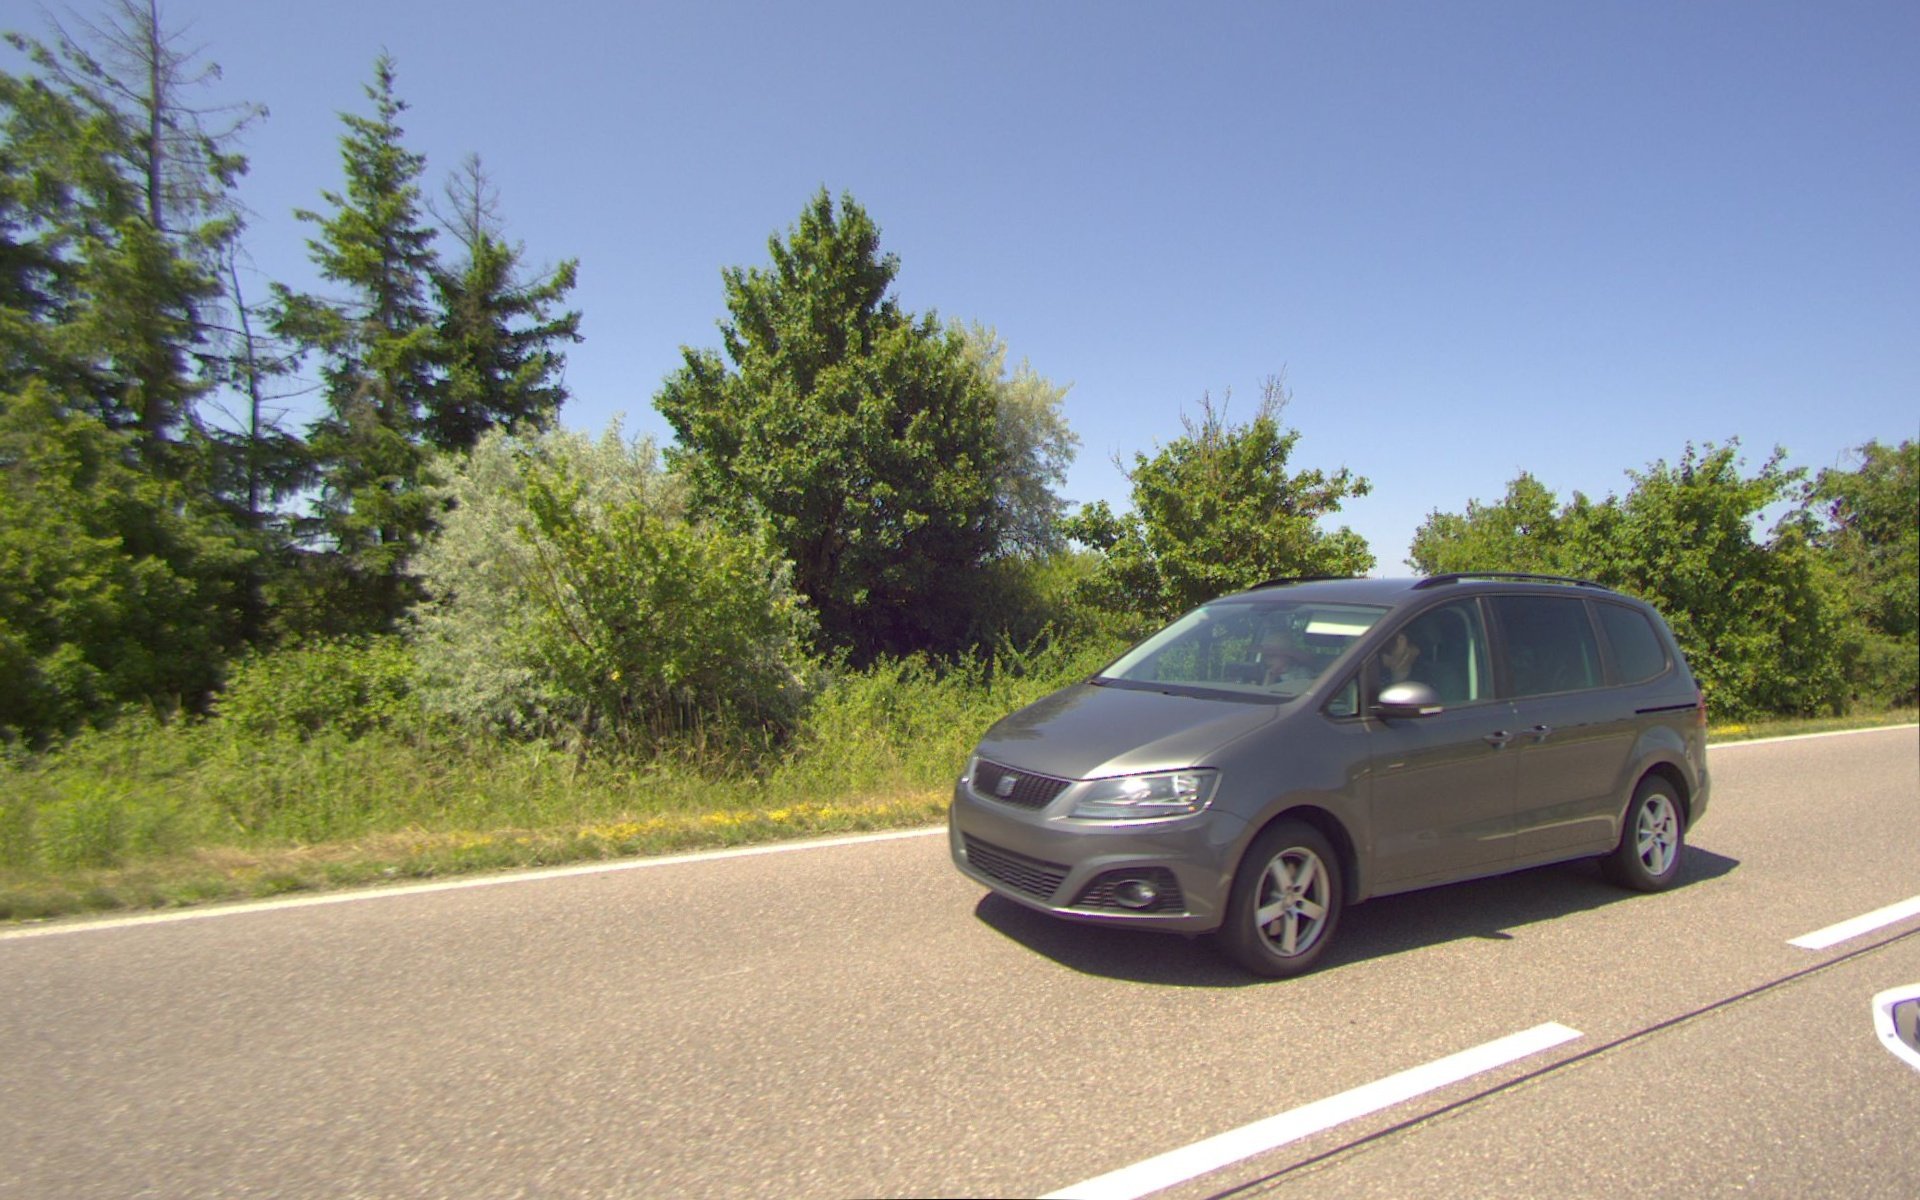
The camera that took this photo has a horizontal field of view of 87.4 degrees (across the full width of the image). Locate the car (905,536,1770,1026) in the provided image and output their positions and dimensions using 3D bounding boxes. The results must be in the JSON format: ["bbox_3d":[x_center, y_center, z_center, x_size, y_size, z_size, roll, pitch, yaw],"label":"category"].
[{"bbox_3d":[2.304,0.699,5.584,4.943,1.724,1.810,1,-1,-30],"label":"car"}]
